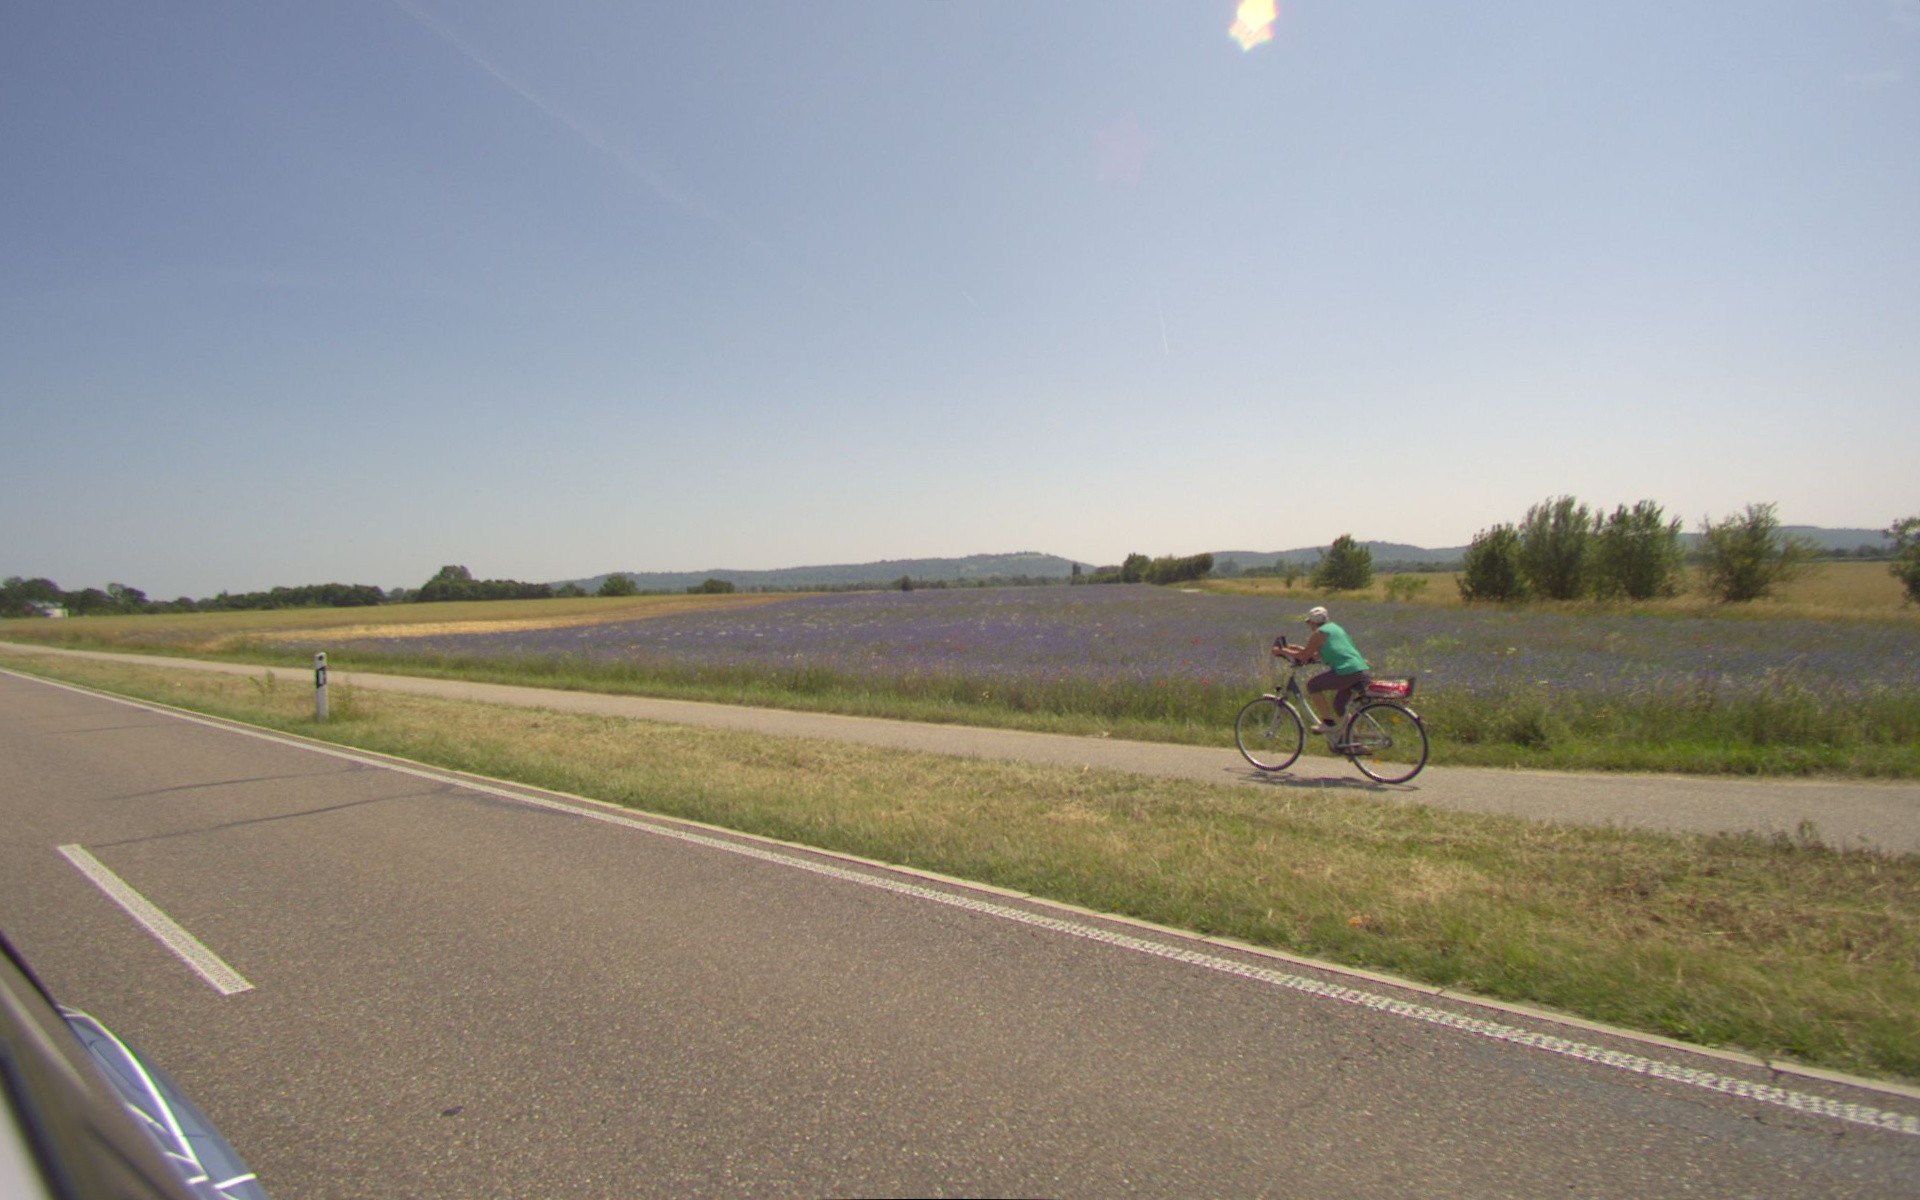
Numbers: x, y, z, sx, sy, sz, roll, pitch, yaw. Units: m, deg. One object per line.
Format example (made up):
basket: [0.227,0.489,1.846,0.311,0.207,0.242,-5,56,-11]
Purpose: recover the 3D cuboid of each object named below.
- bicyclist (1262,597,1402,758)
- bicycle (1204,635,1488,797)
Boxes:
bicyclist: [3.327,0.660,9.059,0.965,1.341,0.694,-2,0,41]
bicycle: [3.358,0.945,8.975,2.214,1.238,0.754,-2,0,41]
